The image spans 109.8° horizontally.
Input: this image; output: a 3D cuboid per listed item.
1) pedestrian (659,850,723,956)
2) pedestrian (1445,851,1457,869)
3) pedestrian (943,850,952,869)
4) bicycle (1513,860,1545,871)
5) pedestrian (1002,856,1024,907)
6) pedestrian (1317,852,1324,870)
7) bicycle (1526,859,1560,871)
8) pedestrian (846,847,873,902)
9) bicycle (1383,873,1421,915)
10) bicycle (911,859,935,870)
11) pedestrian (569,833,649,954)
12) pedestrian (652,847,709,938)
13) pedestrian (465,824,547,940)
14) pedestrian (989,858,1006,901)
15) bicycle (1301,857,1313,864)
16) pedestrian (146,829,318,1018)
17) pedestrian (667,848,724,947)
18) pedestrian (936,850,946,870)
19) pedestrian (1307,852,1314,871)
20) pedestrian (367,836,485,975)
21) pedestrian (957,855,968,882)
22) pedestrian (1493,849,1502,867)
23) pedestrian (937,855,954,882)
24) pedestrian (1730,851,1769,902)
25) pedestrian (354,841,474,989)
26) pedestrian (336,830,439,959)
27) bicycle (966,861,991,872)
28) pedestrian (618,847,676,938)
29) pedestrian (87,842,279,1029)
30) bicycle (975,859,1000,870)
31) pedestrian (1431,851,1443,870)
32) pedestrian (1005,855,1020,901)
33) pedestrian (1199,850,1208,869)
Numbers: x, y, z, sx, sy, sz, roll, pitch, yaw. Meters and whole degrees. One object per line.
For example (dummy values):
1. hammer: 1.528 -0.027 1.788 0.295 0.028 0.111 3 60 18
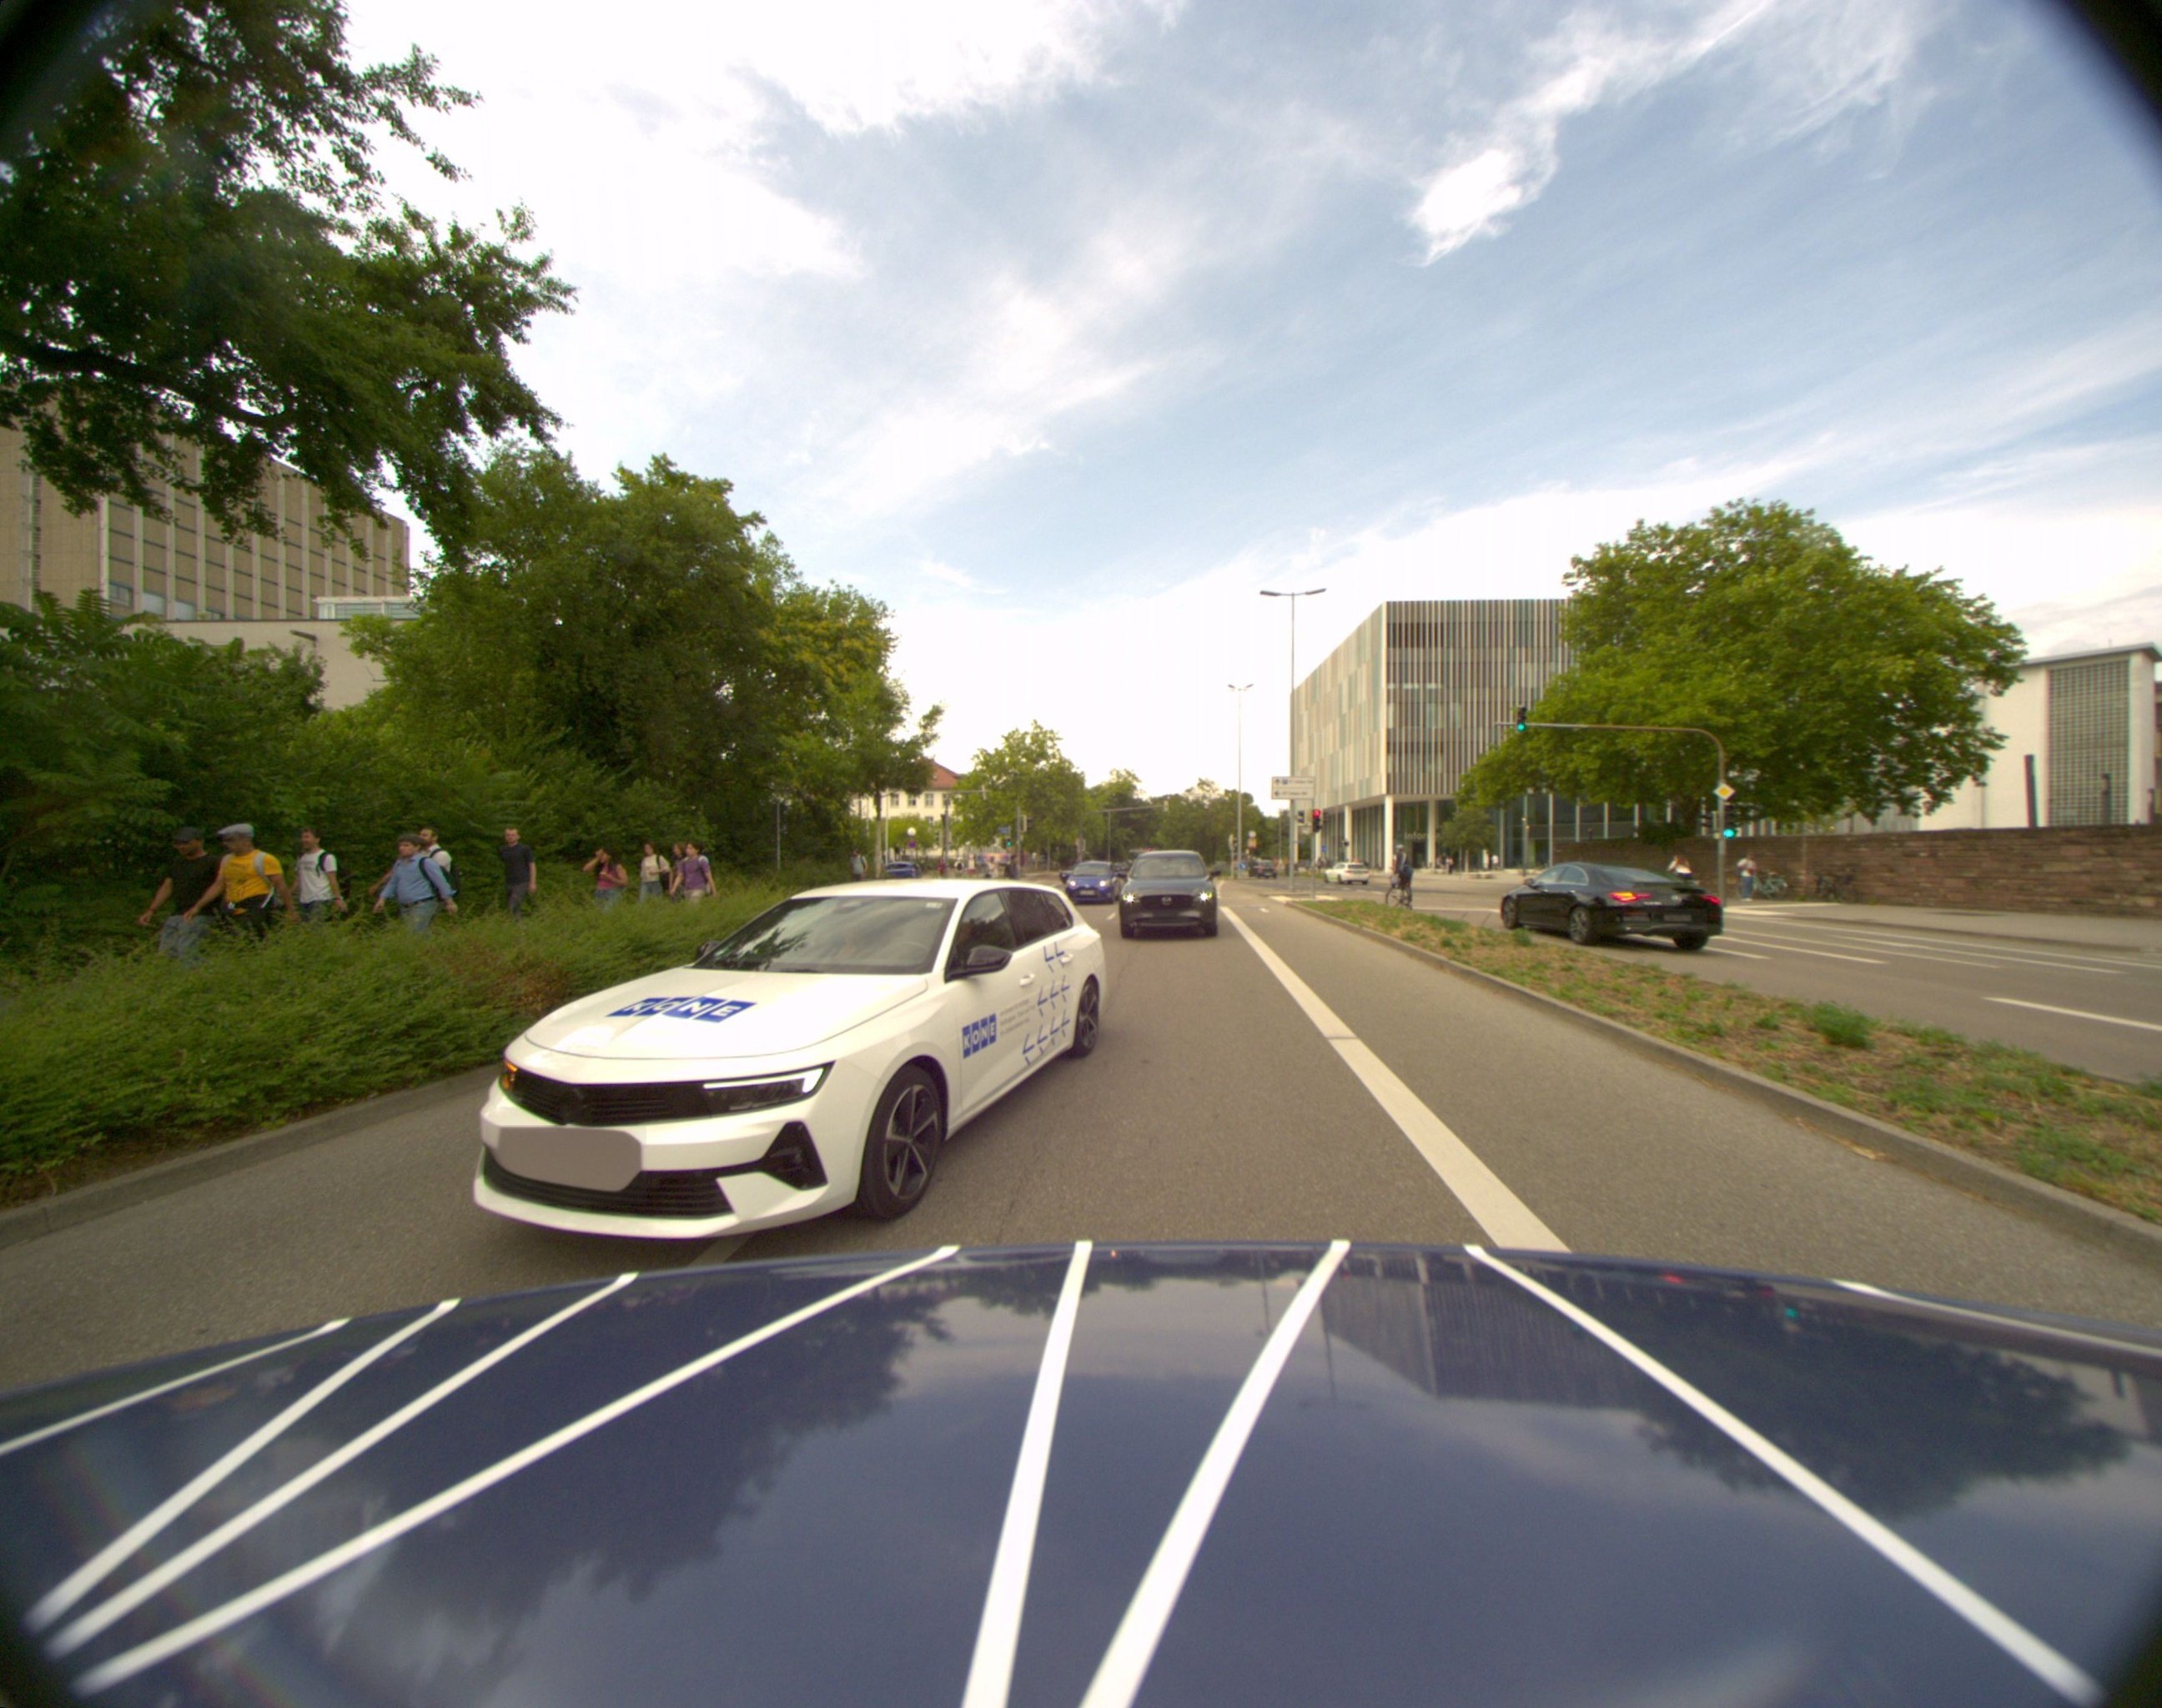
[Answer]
1. pedestrian: -6.536 0.796 12.771 0.625 1.735 0.780 0 0 5
2. pedestrian: 33.512 0.549 68.871 0.731 1.591 0.677 -1 1 -27
3. pedestrian: -13.524 0.537 77.052 0.687 1.951 0.601 -2 1 -35
4. bicycle: 39.787 0.999 67.524 2.683 0.993 0.672 0 0 -11
5. pedestrian: -2.309 0.931 25.857 0.602 1.725 0.655 0 1 5
6. pedestrian: 24.369 0.666 77.293 0.512 1.826 0.625 0 0 3
7. bicycle: 39.546 0.944 65.038 2.683 1.083 0.796 0 0 -11
8. pedestrian: -7.289 0.681 25.033 0.646 1.784 0.741 0 -1 5
9. bicycle: 8.757 1.058 20.770 0.574 1.049 1.928 0 0 11
10. bicycle: -17.032 1.136 81.846 2.471 1.136 0.718 0 0 5
11. pedestrian: -6.999 0.566 11.297 0.658 1.735 0.780 0 0 5
12. pedestrian: -7.794 0.734 14.811 0.658 1.735 0.780 0 0 5
13. pedestrian: -8.942 0.419 11.840 0.658 1.735 0.780 0 0 5
14. pedestrian: -3.329 1.003 30.158 0.547 1.677 0.637 0 1 5
15. bicycle: 33.802 1.024 113.713 1.703 1.017 0.434 -2 0 -1
16. pedestrian: -7.968 0.614 7.171 0.658 1.679 0.842 0 0 5
17. pedestrian: -6.947 0.767 13.730 0.582 1.735 0.790 0 0 5
18. pedestrian: -14.043 0.635 76.261 0.687 1.951 0.601 -2 1 -35
19. pedestrian: 23.330 0.765 77.175 0.512 1.826 0.773 0 0 3
20. pedestrian: -8.678 0.658 10.109 0.658 1.756 0.958 -2 0 5
21. pedestrian: -8.028 0.986 51.528 0.647 1.841 0.829 -1 1 -7
22. pedestrian: 42.106 0.376 76.848 0.598 1.768 0.635 -1 1 -41
23. pedestrian: -9.069 0.967 50.855 0.768 1.794 0.892 -1 0 9
24. pedestrian: 23.767 0.781 27.021 0.748 1.772 0.782 -1 2 -28
25. pedestrian: -7.705 0.671 8.812 0.658 1.638 0.812 0 0 5
26. pedestrian: -9.380 0.527 10.299 0.658 1.689 0.780 0 0 5
27. bicycle: -10.713 1.286 79.640 2.471 1.136 0.718 0 0 5
28. pedestrian: -8.482 0.727 14.875 0.658 1.735 0.780 0 0 5
29. pedestrian: -8.500 0.723 7.243 0.658 1.657 0.971 0 0 5
30. bicycle: -10.030 1.165 81.595 2.471 1.136 0.718 0 0 5
31. pedestrian: 32.763 0.634 69.873 0.731 1.730 0.677 -1 1 -30
32. pedestrian: -2.601 0.916 28.842 0.455 1.725 0.637 0 1 5
33. pedestrian: 12.133 0.556 75.417 0.727 1.843 1.065 0 0 2
